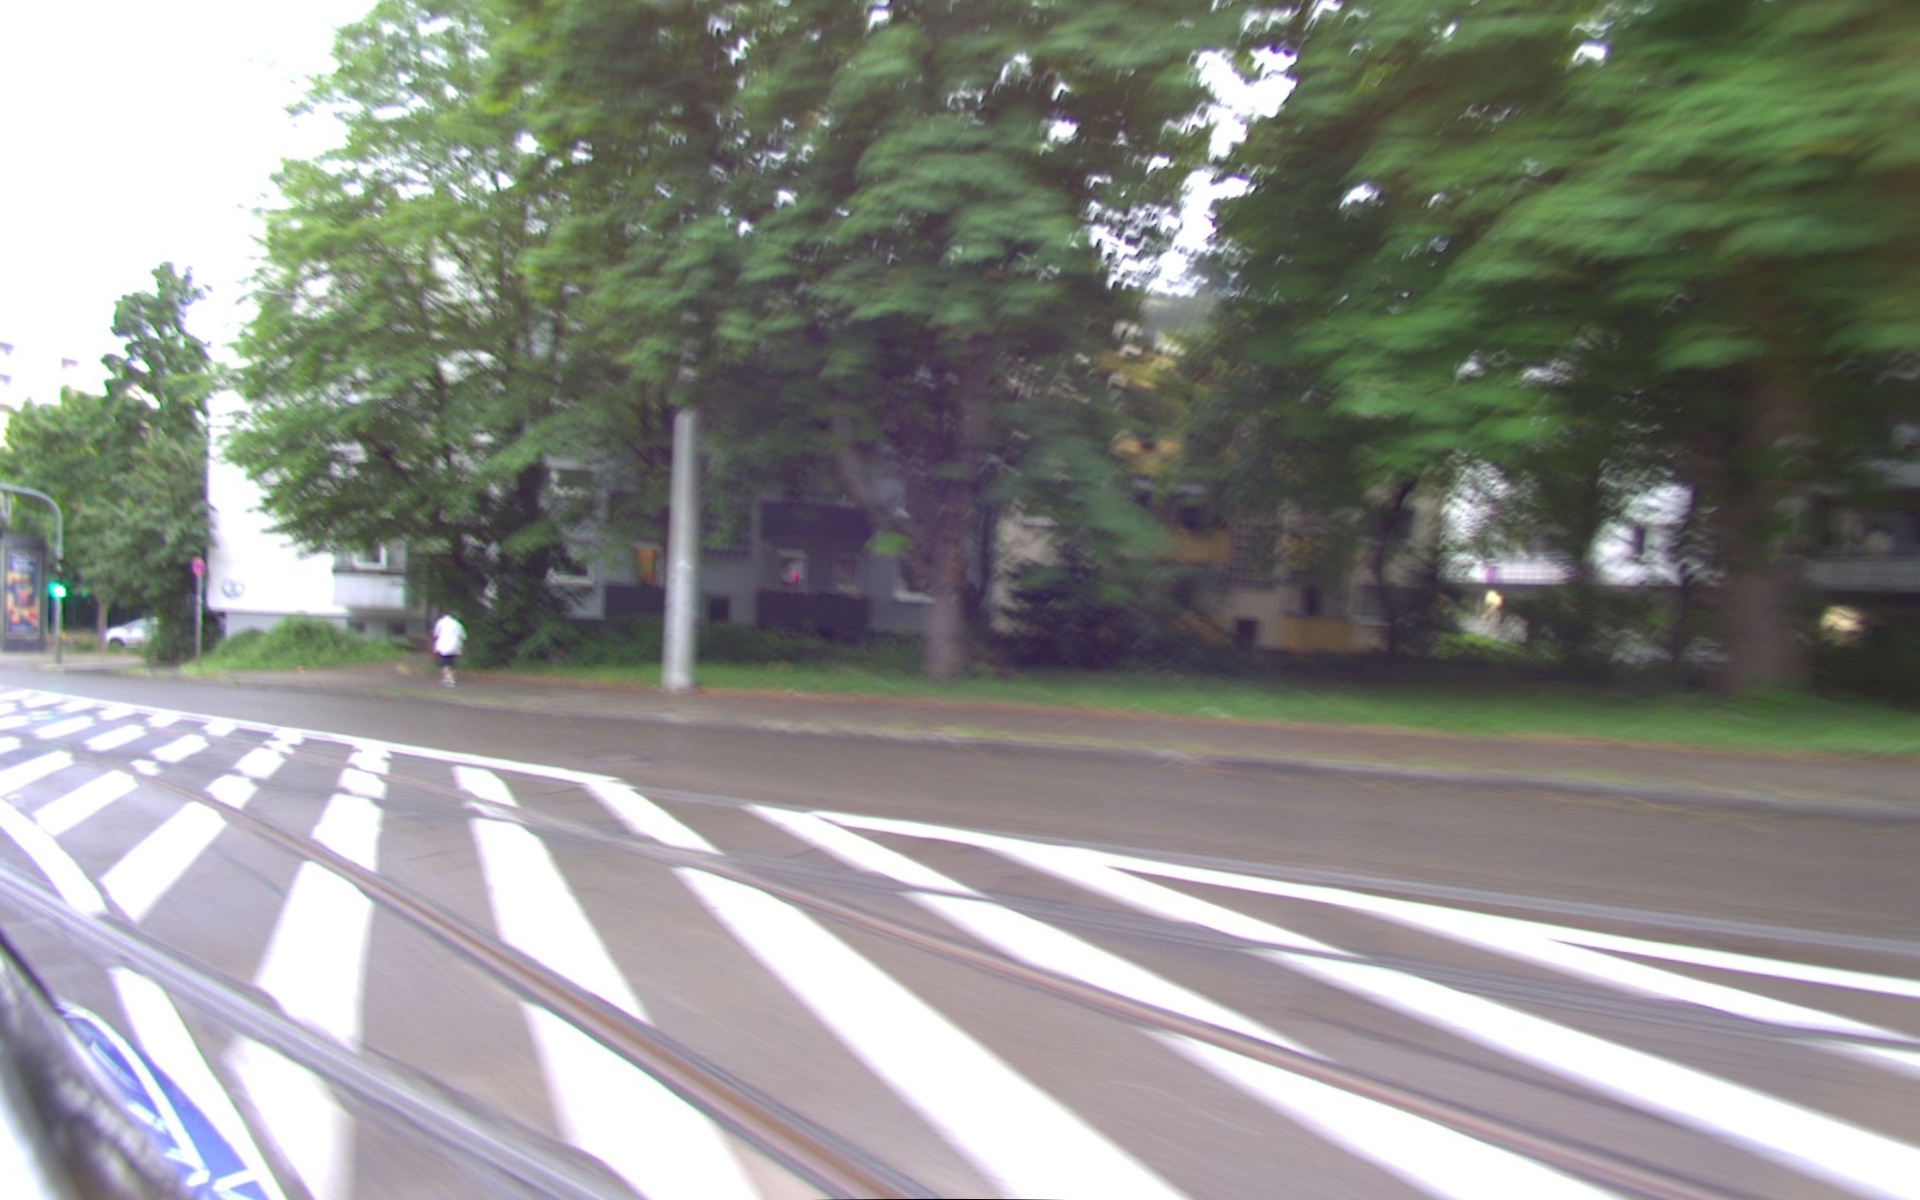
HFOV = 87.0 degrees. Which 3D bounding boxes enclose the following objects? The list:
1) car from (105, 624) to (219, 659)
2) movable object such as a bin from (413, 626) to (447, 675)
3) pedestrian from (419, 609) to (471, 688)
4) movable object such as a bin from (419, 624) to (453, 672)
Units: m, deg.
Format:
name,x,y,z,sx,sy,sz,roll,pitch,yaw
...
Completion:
name,x,y,z,sx,sy,sz,roll,pitch,yaw
car,-40.477,2.079,51.417,4.093,1.492,2.005,2,3,-10
movable object such as a bin,-14.310,1.363,27.321,0.617,1.242,0.668,2,2,-7
pedestrian,-10.946,1.006,21.513,0.866,1.612,0.579,0,2,31
movable object such as a bin,-14.474,1.327,27.973,0.617,1.242,0.668,2,2,-7
